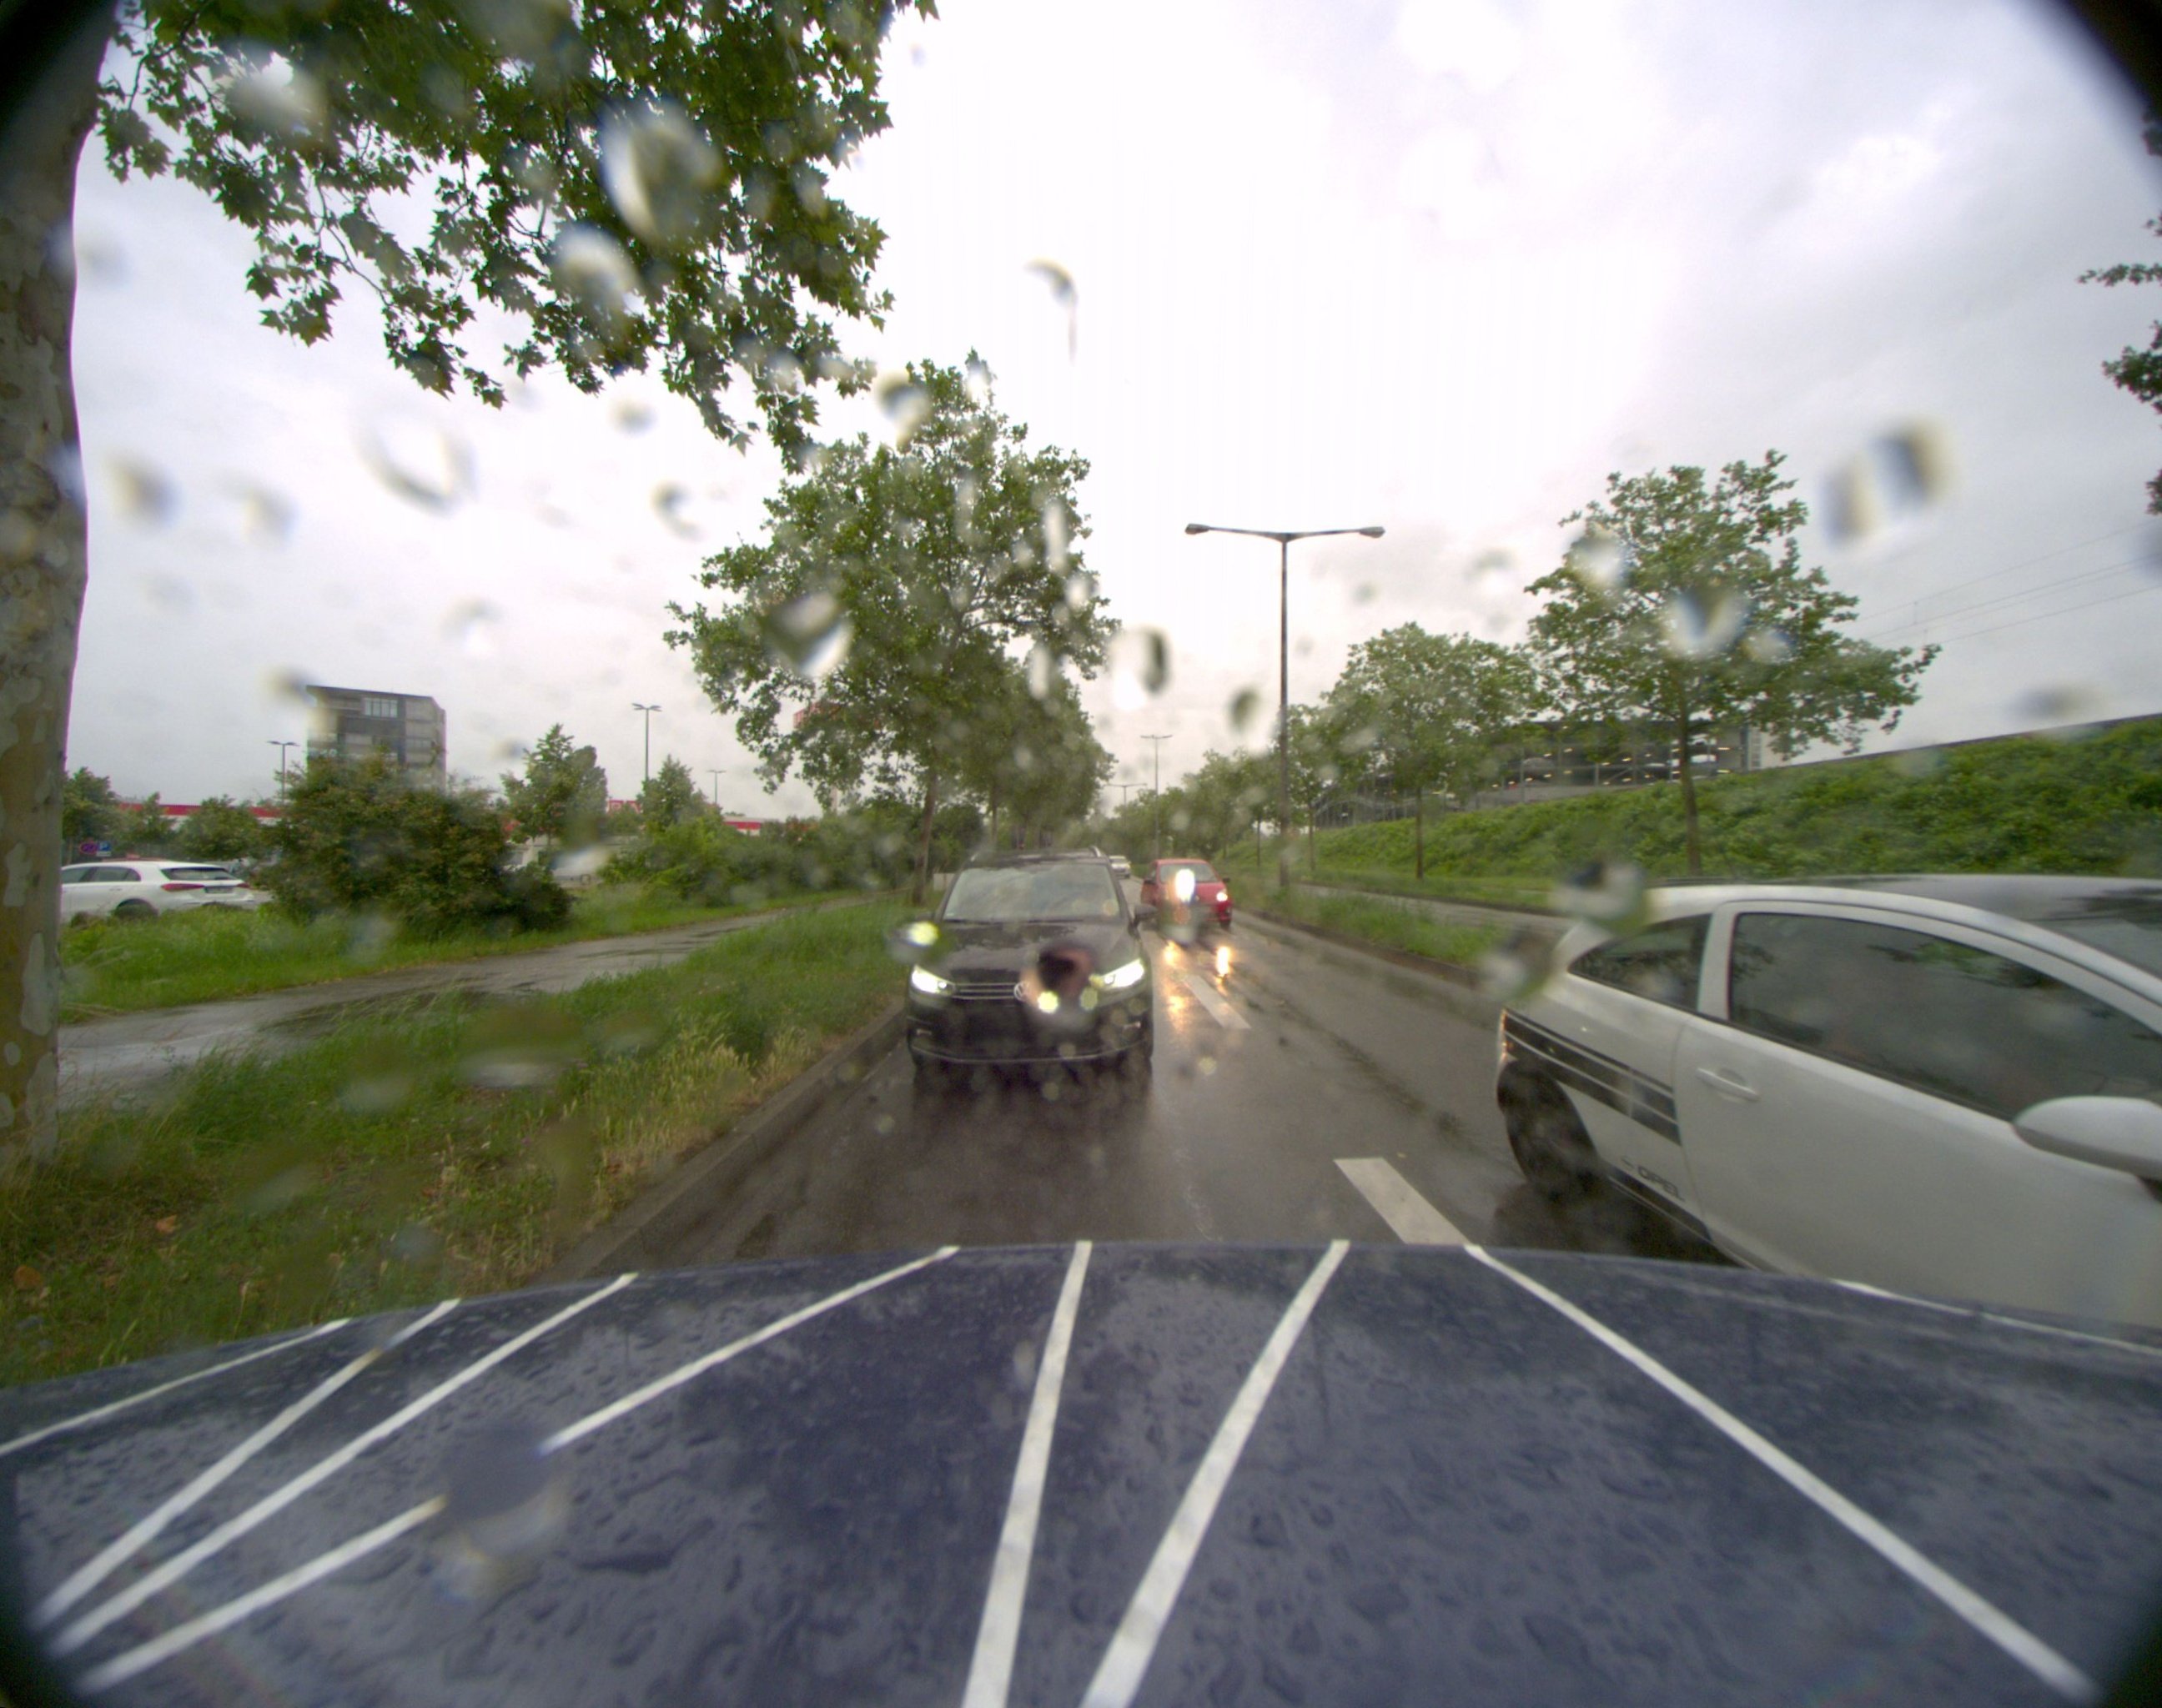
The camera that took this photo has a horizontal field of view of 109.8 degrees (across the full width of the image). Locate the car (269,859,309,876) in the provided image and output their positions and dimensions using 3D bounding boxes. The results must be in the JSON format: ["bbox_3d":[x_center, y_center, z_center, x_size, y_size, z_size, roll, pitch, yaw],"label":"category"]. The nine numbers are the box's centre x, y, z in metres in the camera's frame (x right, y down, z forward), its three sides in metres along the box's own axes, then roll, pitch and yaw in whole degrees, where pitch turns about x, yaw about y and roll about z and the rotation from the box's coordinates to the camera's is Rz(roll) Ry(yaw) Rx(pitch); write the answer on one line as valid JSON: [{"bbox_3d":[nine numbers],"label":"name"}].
[{"bbox_3d":[-80.580,1.321,77.332,2.006,1.667,4.262,0,0,-35],"label":"car"}]

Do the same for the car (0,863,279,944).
[{"bbox_3d":[-19.793,0.963,15.659,4.272,1.543,1.929,0,0,-4],"label":"car"}]

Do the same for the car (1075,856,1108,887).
[{"bbox_3d":[0.581,0.994,45.858,1.831,1.737,4.147,-2,0,0],"label":"car"}]

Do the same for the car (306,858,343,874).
[{"bbox_3d":[-78.469,1.222,78.863,2.006,1.667,4.262,0,0,-35],"label":"car"}]

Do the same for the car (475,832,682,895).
[{"bbox_3d":[-19.666,0.357,30.078,6.425,2.349,2.390,0,0,-8],"label":"car"}]

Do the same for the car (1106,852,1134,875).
[{"bbox_3d":[2.910,0.699,57.910,1.831,1.602,4.147,-2,0,0],"label":"car"}]

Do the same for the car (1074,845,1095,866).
[{"bbox_3d":[0.364,0.151,77.854,1.998,2.002,5.132,-2,1,1],"label":"car"}]

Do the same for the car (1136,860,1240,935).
[{"bbox_3d":[2.348,0.909,17.668,1.724,1.456,4.092,-2,0,-1],"label":"car"}]

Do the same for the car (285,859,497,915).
[{"bbox_3d":[-19.946,0.921,22.129,4.272,1.543,1.929,0,0,-4],"label":"car"}]

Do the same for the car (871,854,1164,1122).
[{"bbox_3d":[-0.437,0.835,7.067,1.771,1.596,4.626,-2,0,-1],"label":"car"}]

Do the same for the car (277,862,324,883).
[{"bbox_3d":[-67.284,1.589,65.601,2.006,1.667,4.262,0,0,-34],"label":"car"}]

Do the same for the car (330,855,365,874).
[{"bbox_3d":[-68.963,0.940,71.513,2.007,1.667,4.261,0,0,-40],"label":"car"}]

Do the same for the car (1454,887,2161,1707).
[{"bbox_3d":[2.768,0.880,1.822,1.683,1.368,4.010,-2,0,-1],"label":"car"}]

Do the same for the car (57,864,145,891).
[{"bbox_3d":[-61.950,1.428,48.139,1.933,1.543,4.263,0,0,-30],"label":"car"}]

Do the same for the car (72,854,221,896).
[{"bbox_3d":[-43.726,0.955,35.701,4.007,1.718,1.886,-3,1,-38],"label":"car"}]

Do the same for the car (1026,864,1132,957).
[{"bbox_3d":[-0.034,0.978,14.891,1.724,1.456,4.092,-2,0,0],"label":"car"}]
